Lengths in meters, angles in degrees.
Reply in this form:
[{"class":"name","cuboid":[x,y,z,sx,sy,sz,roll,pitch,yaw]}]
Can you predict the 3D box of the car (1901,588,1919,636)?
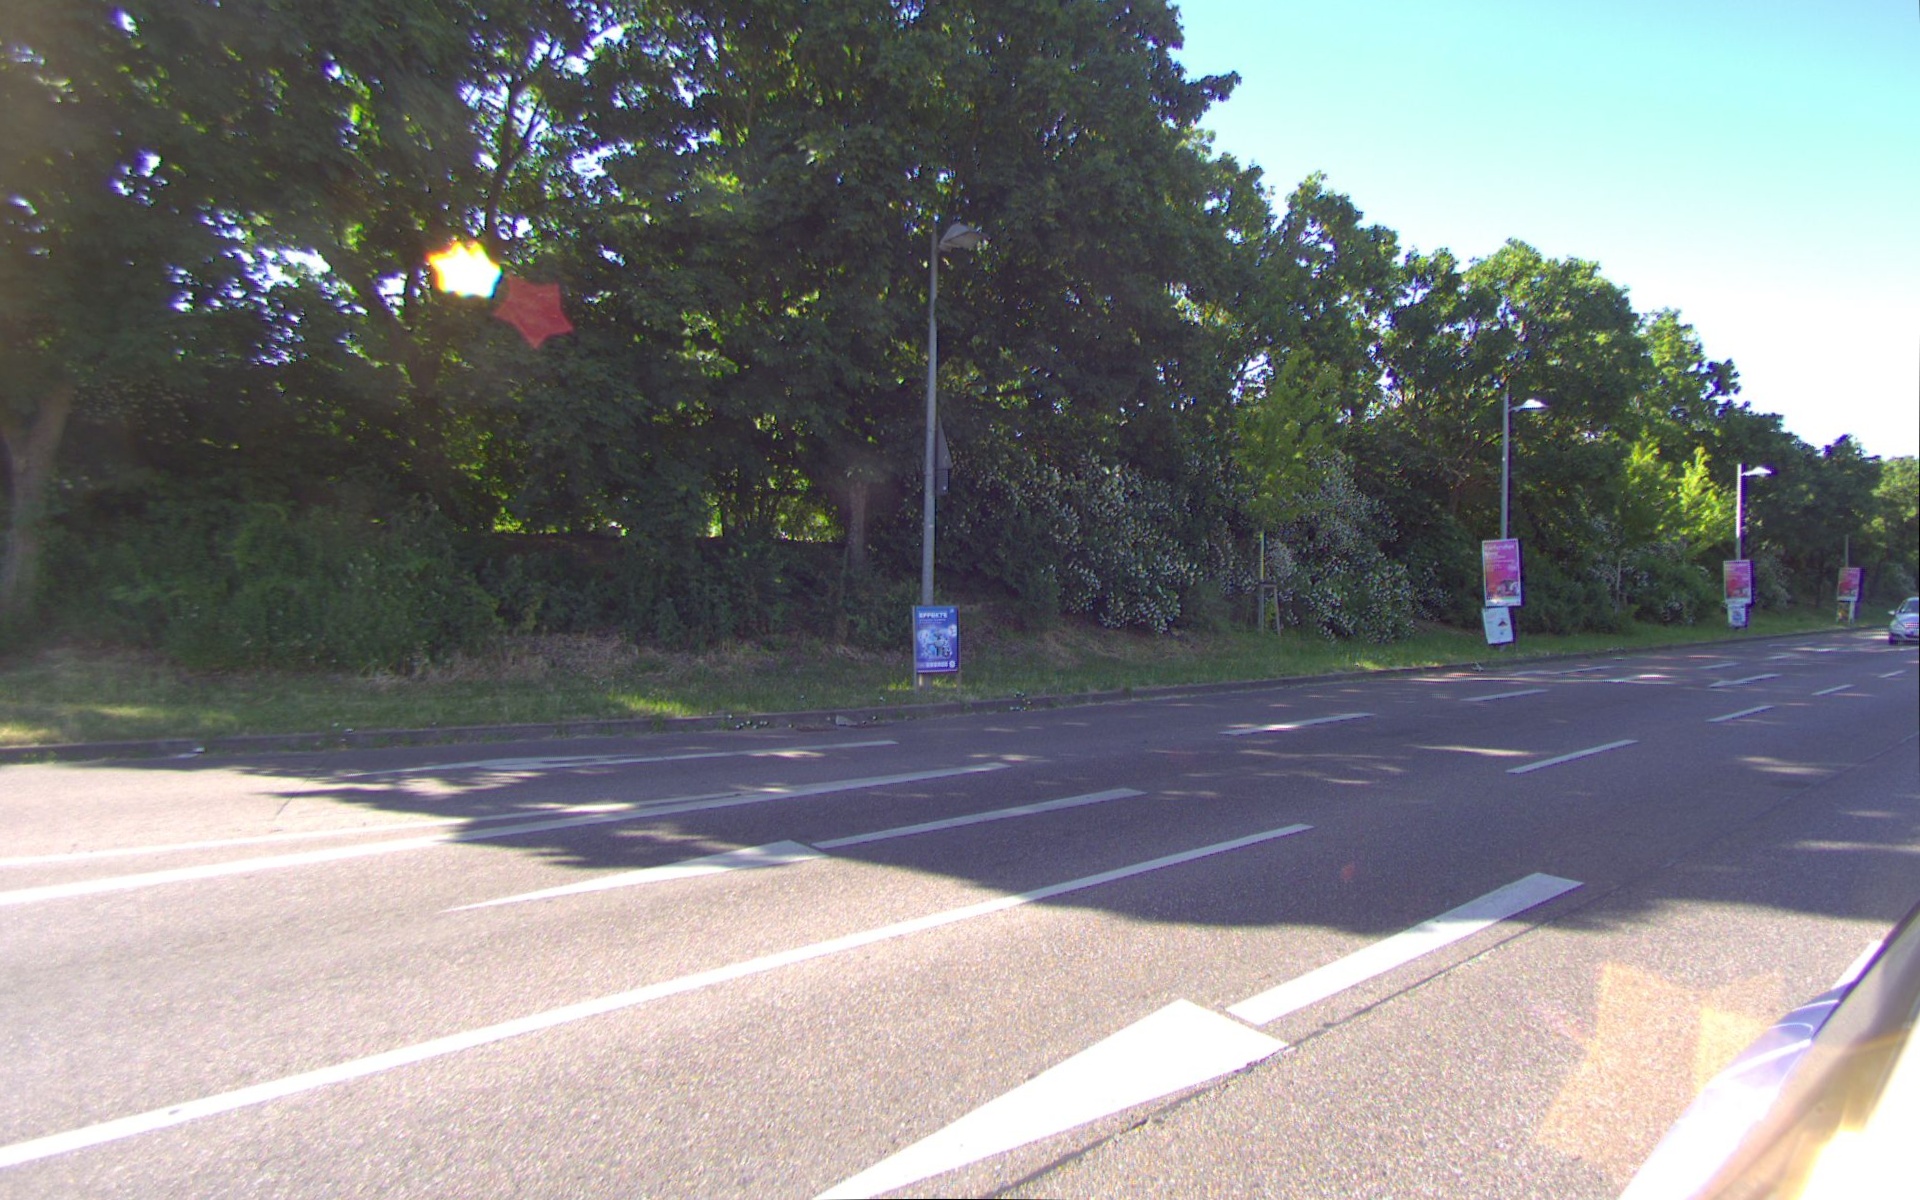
[{"class":"car","cuboid":[32.880,0.378,33.709,3.987,1.560,1.672,0,-1,-39]}]
